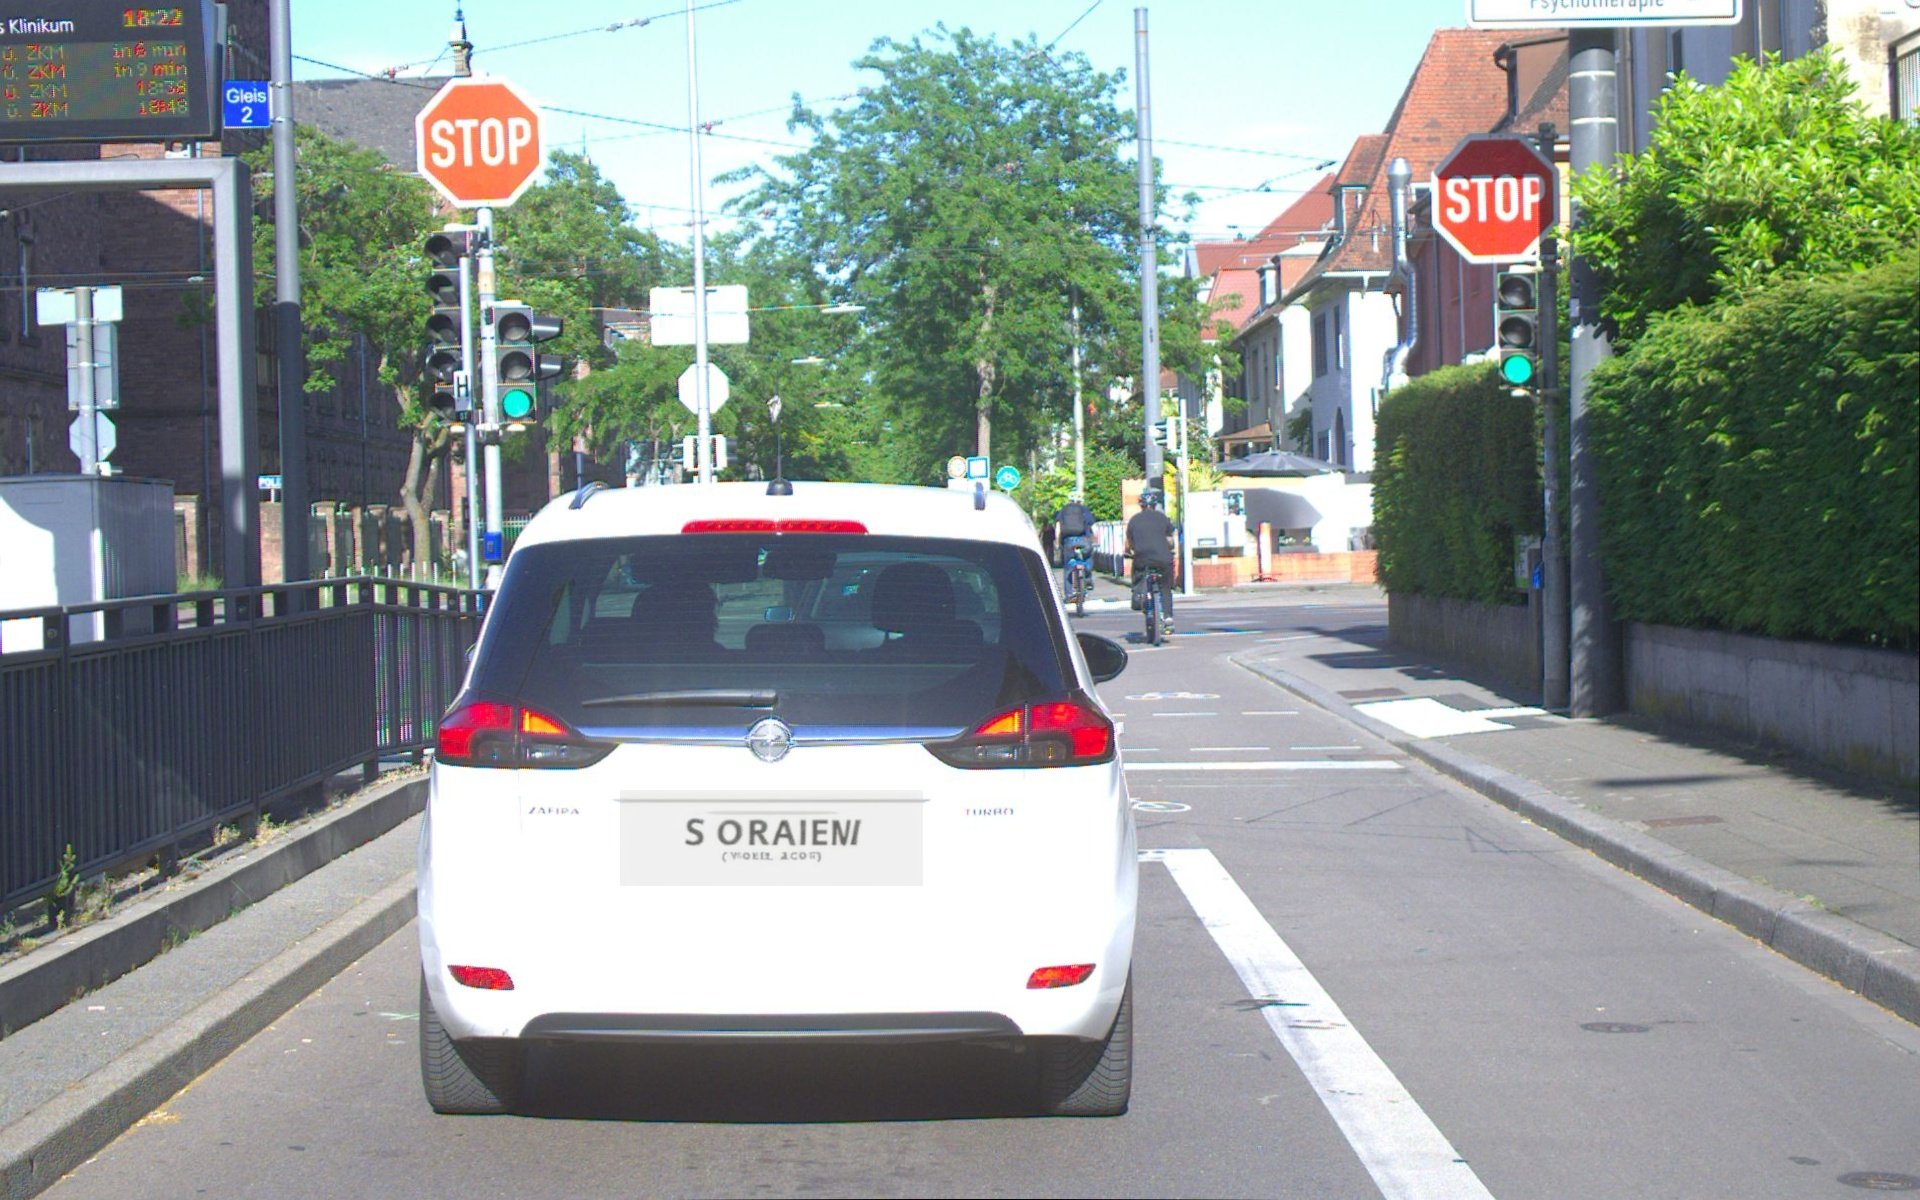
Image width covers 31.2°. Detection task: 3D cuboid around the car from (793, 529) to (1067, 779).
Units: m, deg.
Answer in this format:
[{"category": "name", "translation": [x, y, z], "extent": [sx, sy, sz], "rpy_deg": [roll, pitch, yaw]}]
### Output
[{"category": "car", "translation": [-0.116, 0.284, 22.432], "extent": [1.586, 1.415, 3.900], "rpy_deg": [-2, 2, 2]}]

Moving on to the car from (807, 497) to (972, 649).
[{"category": "car", "translation": [-0.769, -0.330, 39.441], "extent": [1.776, 1.626, 3.881], "rpy_deg": [-1, 1, 0]}]

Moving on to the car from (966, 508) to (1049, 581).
[{"category": "car", "translation": [1.131, -1.293, 79.875], "extent": [1.776, 1.626, 3.880], "rpy_deg": [-1, 1, 3]}]

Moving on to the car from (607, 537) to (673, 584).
[{"category": "car", "translation": [-10.099, -1.270, 108.655], "extent": [1.581, 1.436, 3.584], "rpy_deg": [-1, 1, 2]}]

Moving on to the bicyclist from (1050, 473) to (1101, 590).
[{"category": "bicyclist", "translation": [1.633, -0.961, 48.353], "extent": [0.685, 1.629, 1.015], "rpy_deg": [-1, 1, 2]}]

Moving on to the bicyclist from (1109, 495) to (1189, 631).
[{"category": "bicyclist", "translation": [2.125, -0.421, 38.688], "extent": [0.821, 1.496, 0.934], "rpy_deg": [-1, 1, 0]}]

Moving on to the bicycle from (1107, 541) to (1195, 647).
[{"category": "bicycle", "translation": [2.137, -0.082, 38.710], "extent": [0.829, 1.150, 2.095], "rpy_deg": [-1, 1, -1]}]

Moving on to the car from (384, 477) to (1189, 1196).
[{"category": "car", "translation": [-0.381, 0.516, 9.902], "extent": [1.835, 1.636, 3.919], "rpy_deg": [-1, 1, 1]}]

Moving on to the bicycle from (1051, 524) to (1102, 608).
[{"category": "bicycle", "translation": [1.636, -0.486, 48.247], "extent": [0.685, 1.153, 1.619], "rpy_deg": [-1, 1, 2]}]
